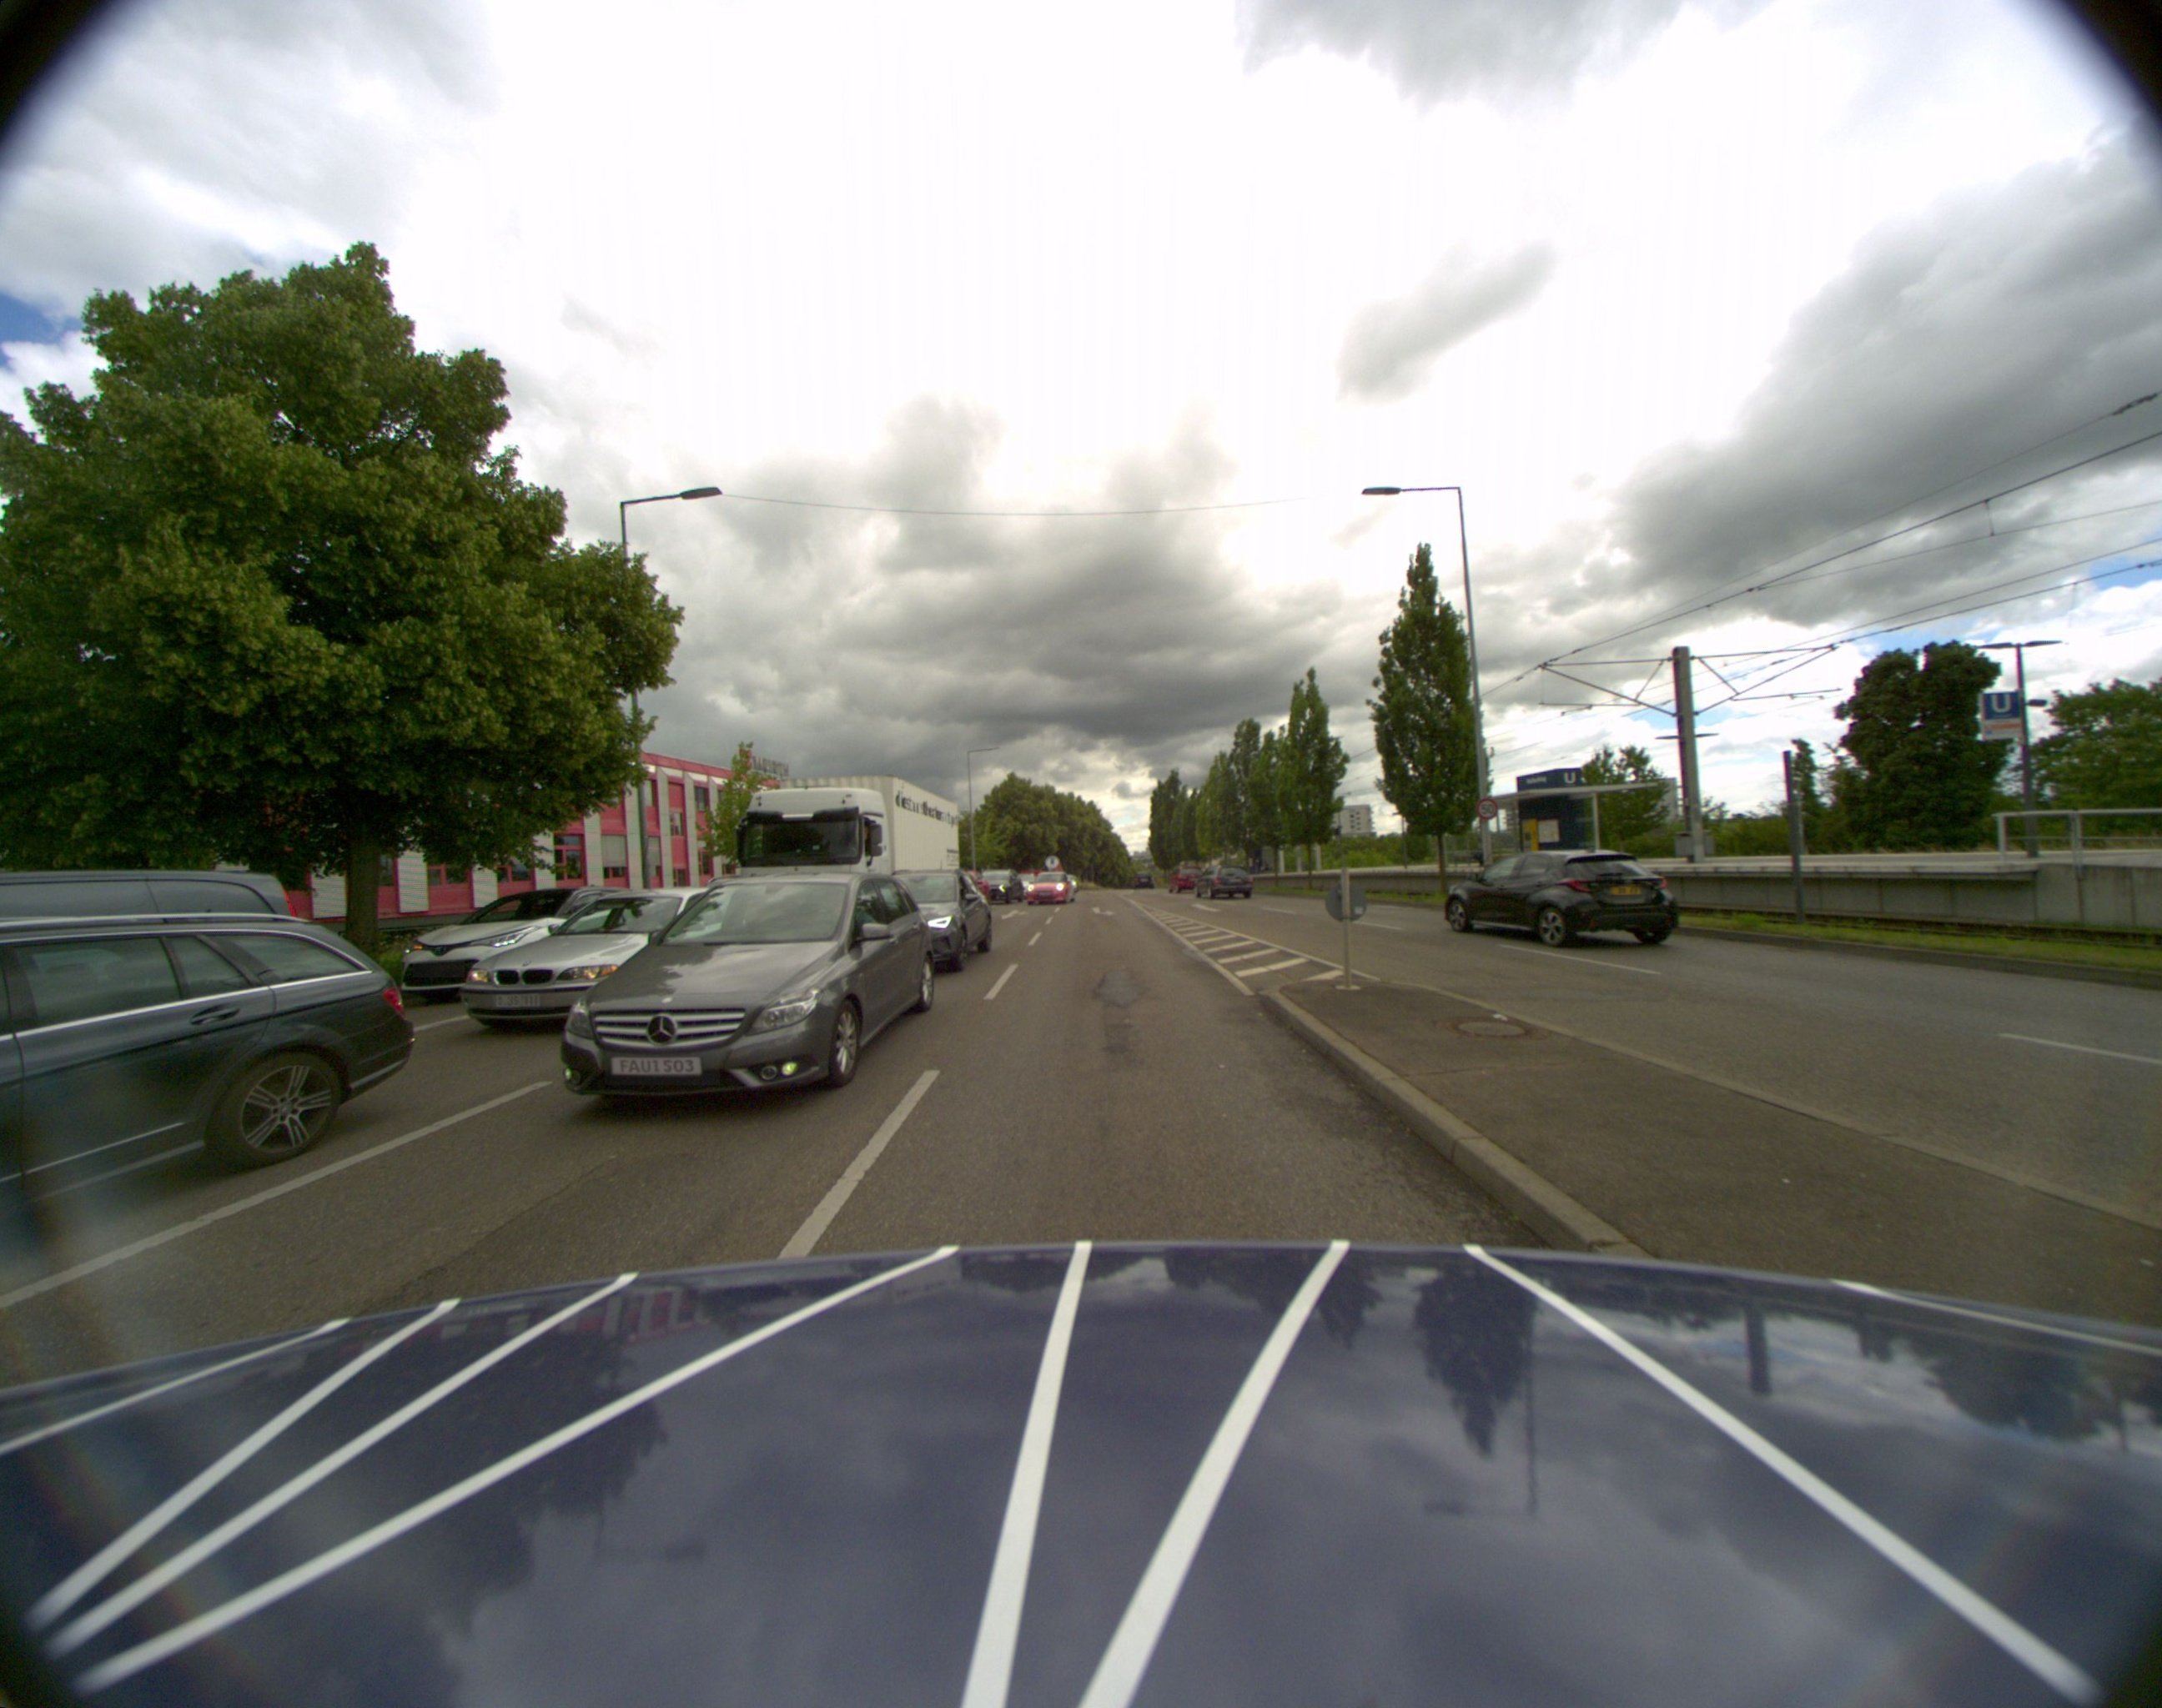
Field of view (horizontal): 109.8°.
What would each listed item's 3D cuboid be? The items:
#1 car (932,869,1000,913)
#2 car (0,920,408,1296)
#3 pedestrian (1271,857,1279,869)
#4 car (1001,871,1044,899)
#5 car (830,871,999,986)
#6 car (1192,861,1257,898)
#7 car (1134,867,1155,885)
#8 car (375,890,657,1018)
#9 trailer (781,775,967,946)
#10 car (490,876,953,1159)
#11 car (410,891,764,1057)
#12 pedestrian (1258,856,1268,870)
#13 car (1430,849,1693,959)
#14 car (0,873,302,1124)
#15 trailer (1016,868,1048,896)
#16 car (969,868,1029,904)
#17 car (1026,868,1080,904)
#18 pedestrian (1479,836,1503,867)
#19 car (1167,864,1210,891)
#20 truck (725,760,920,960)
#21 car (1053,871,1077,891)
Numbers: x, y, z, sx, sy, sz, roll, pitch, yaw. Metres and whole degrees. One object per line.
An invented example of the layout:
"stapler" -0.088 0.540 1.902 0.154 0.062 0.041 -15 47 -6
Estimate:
"car" -4.521 1.421 30.401 1.711 1.515 4.321 -2 -1 4
"car" -5.461 1.161 2.946 1.829 1.426 4.214 -2 -1 2
"pedestrian" 17.583 0.812 68.918 0.608 1.072 0.470 -2 -2 0
"car" -3.184 1.679 42.107 1.675 1.439 4.492 -2 -1 5
"car" -2.532 1.077 12.529 1.702 1.477 4.001 -2 0 2
"car" 6.196 1.045 33.202 1.695 1.431 4.544 -2 0 -3
"car" 5.767 2.000 68.842 1.729 1.564 3.709 -2 -2 3
"car" -8.551 1.422 11.968 1.645 1.487 3.683 -2 0 0
"trailer" -5.136 0.214 20.581 2.572 3.683 7.766 -2 -1 2
"car" -2.480 1.032 6.571 1.803 1.514 4.188 -2 0 3
"car" -5.568 1.242 9.330 1.817 1.346 4.117 -2 0 -4
"pedestrian" 16.751 0.817 69.913 0.763 1.192 0.665 -2 -2 0
"car" 7.678 0.716 12.656 1.598 1.487 3.937 -2 0 -5
"car" -8.874 1.118 5.426 1.829 1.793 4.507 -2 0 2
"trailer" -2.931 1.674 46.026 1.412 1.584 3.305 -2 -1 5
"car" -3.861 1.508 36.605 1.848 1.552 4.407 -2 -1 7
"car" -1.188 1.409 34.241 1.722 1.448 3.699 -2 -1 8
"pedestrian" 17.830 -0.108 33.054 0.611 1.261 0.660 -2 -3 -2
"car" 6.254 1.373 44.597 1.707 1.479 4.086 -2 -1 -3
"truck" -5.319 0.162 16.392 2.577 3.683 4.107 -2 -1 2
"car" -1.205 2.089 58.156 1.751 1.438 3.646 -2 -3 0
